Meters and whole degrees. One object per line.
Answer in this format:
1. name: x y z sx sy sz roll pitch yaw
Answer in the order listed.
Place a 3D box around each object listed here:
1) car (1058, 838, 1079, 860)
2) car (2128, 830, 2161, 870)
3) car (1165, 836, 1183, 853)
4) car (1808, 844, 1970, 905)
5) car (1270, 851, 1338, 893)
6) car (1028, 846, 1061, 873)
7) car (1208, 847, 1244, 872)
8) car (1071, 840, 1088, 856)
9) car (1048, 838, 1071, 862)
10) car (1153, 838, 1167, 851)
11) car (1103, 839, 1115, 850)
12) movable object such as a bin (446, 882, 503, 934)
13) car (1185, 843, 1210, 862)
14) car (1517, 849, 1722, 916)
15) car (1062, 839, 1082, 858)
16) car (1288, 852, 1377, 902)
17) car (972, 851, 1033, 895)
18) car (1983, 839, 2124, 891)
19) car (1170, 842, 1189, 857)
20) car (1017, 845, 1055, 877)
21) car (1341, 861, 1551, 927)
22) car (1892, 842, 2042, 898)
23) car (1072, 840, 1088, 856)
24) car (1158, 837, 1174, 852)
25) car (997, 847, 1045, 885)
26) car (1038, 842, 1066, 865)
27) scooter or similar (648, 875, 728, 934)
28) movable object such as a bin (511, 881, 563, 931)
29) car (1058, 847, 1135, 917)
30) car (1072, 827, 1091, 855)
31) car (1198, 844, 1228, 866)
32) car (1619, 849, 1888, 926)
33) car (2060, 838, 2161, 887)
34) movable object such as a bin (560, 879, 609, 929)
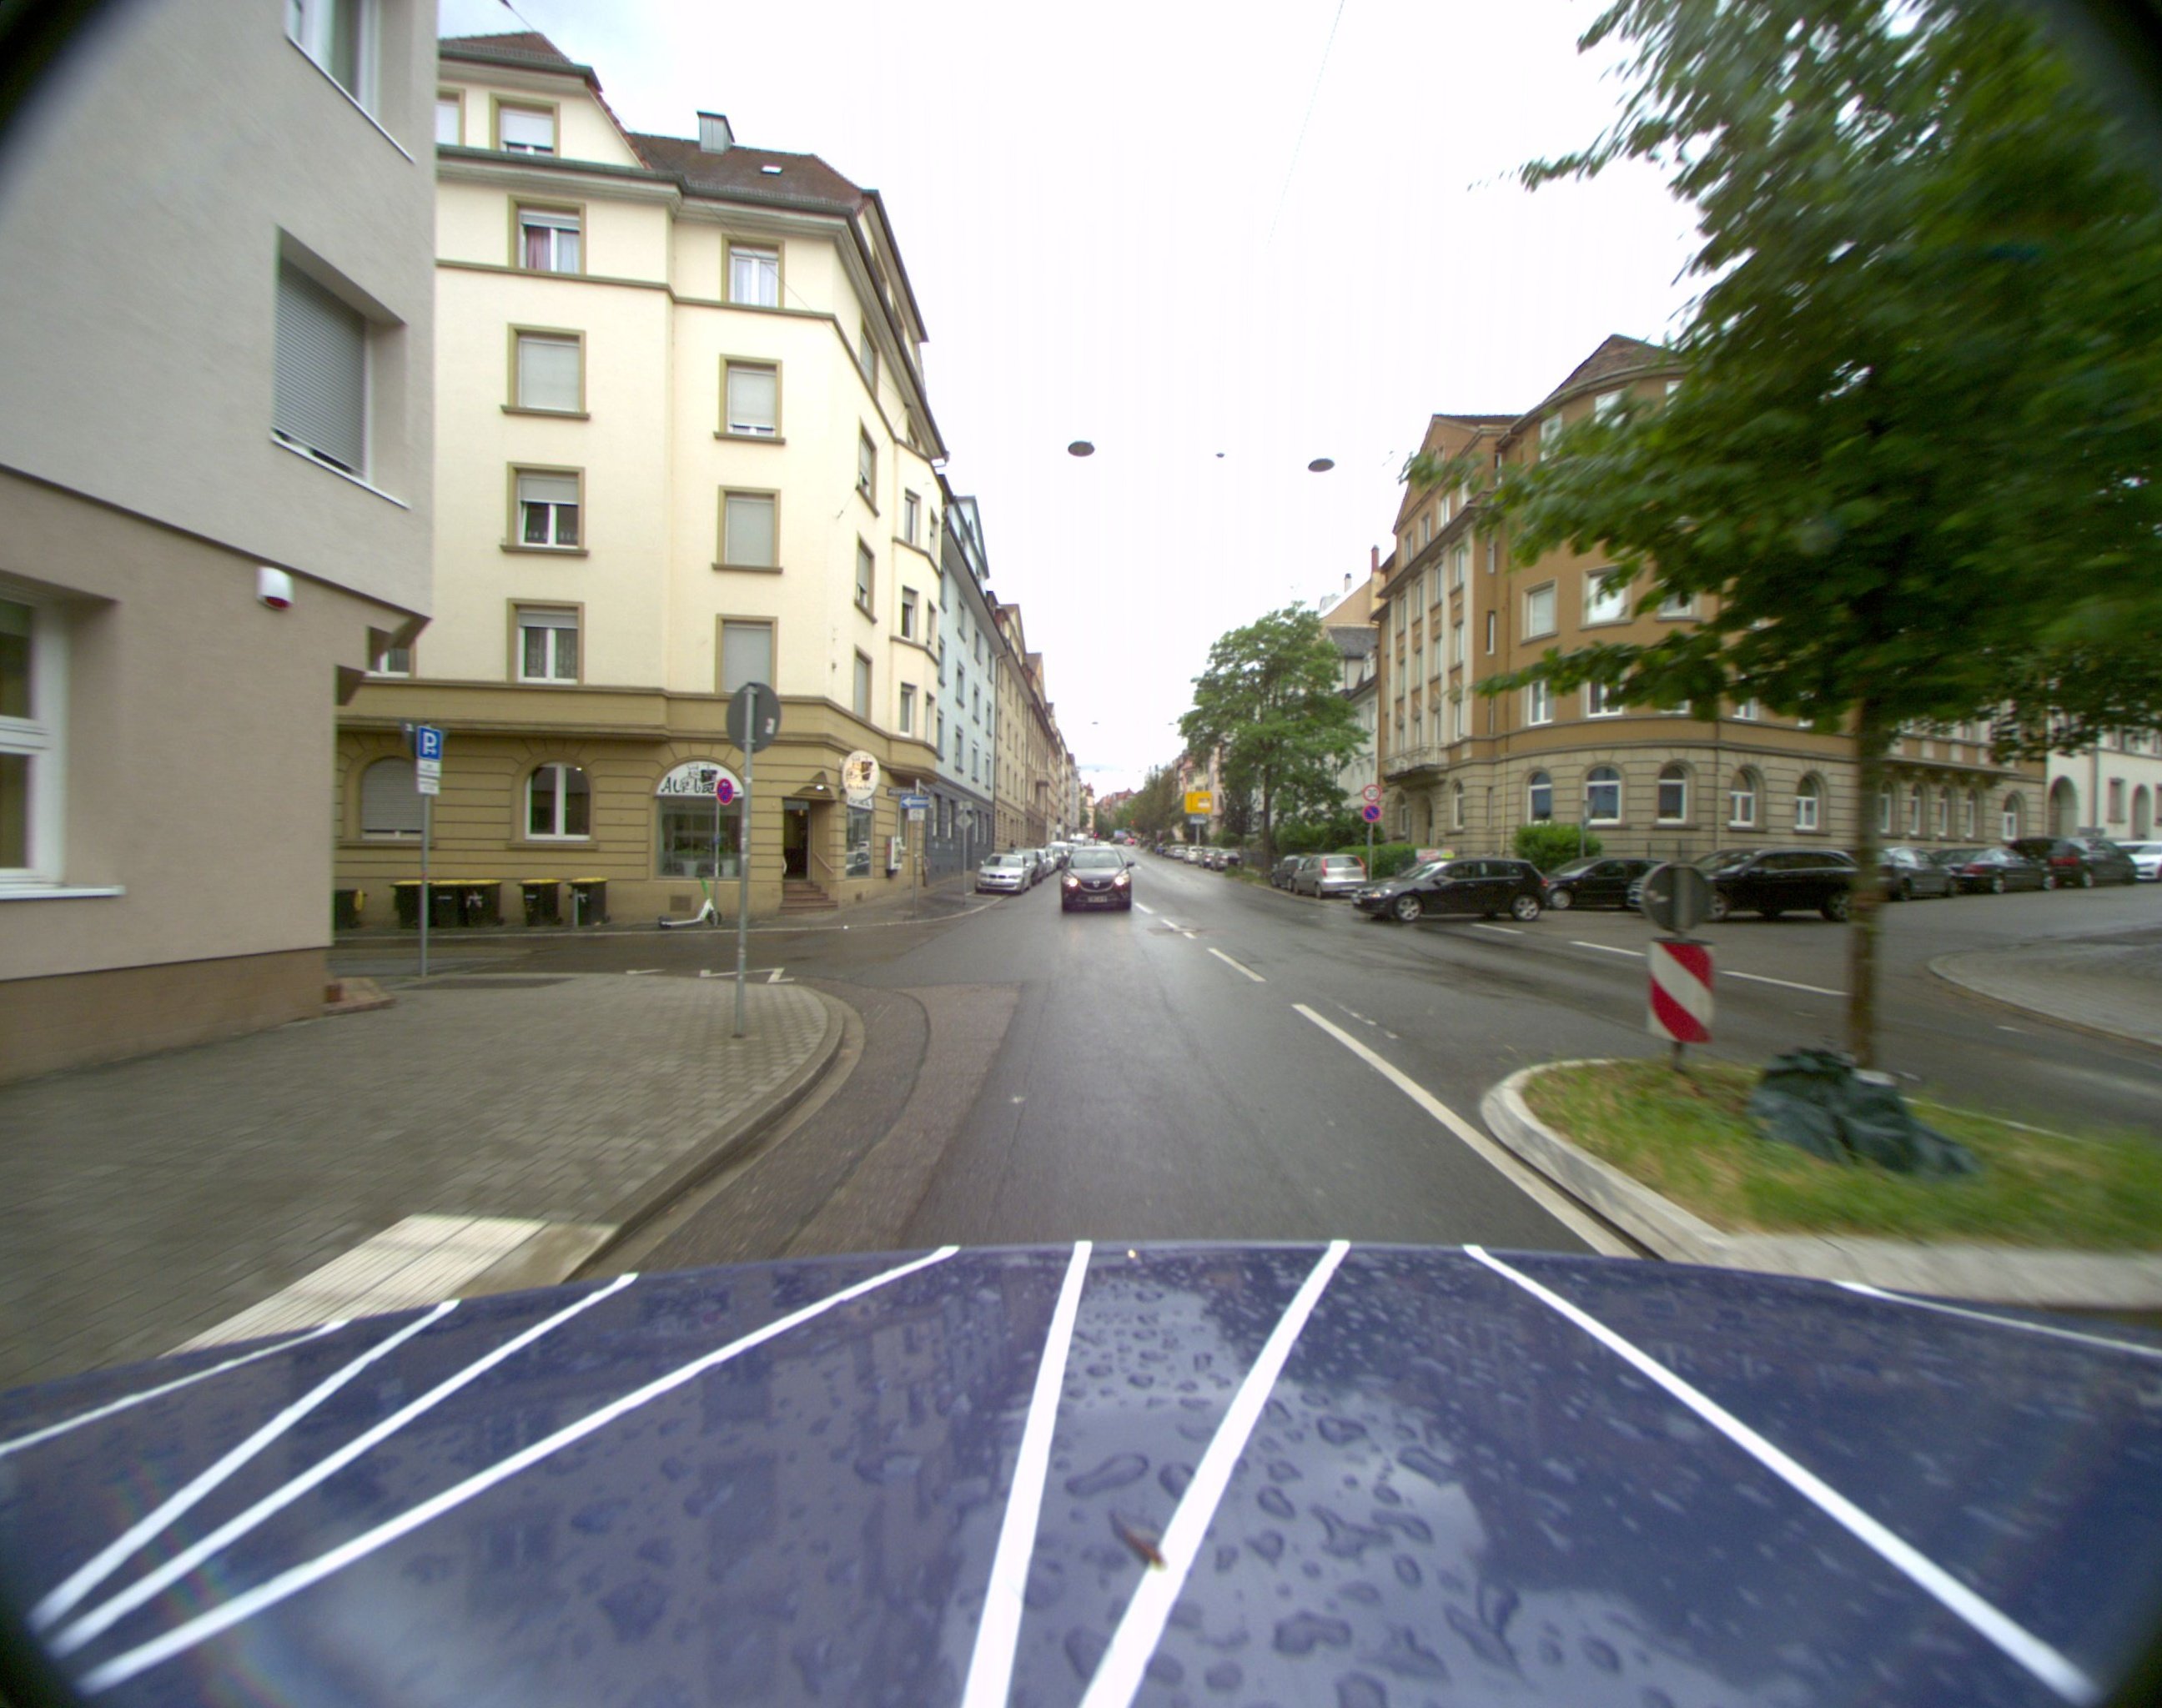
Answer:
1. car: -1.112 -0.461 68.620 1.719 1.871 3.907 0 1 1
2. car: 47.500 -0.186 32.688 4.004 1.674 1.996 0 1 -23
3. car: 10.601 -1.106 86.641 1.640 1.871 3.658 0 1 1
4. car: 24.072 0.536 22.650 4.004 1.674 1.996 0 1 -23
5. car: 8.883 0.668 30.502 1.672 1.507 3.393 -2 1 0
6. car: -2.147 0.306 45.263 1.733 1.486 3.550 0 1 0
7. car: 9.470 0.340 49.727 1.672 1.507 3.696 -2 1 1
8. car: -0.141 -0.728 89.242 1.998 1.871 3.999 0 1 1
9. car: -1.721 -0.368 62.232 1.733 1.887 3.550 0 1 0
10. car: 11.172 -1.357 107.142 1.640 1.871 3.658 0 1 1
11. car: 4.506 -1.597 123.629 1.796 1.768 3.903 0 1 1
12. movable object such as a bin: -13.616 1.201 17.077 0.677 1.070 0.703 0 3 -6
13. car: 10.061 -0.141 65.926 1.672 1.507 3.393 -2 1 1
14. car: 14.218 0.710 20.298 3.995 1.674 2.001 0 1 7
15. car: -0.942 -0.596 80.131 1.998 1.871 3.999 0 1 1
16. car: 8.604 0.725 26.288 1.813 1.507 3.676 -2 1 0
17. car: -2.877 0.658 28.725 1.856 1.456 4.204 0 1 0
18. car: 33.563 0.322 26.228 4.004 1.674 1.996 0 1 -23
19. car: 10.570 -0.499 81.708 1.558 1.507 3.393 -2 1 2
20. car: -2.353 0.339 40.387 1.776 1.583 3.550 0 1 0
21. car: 8.300 0.883 17.522 3.998 1.412 1.811 0 0 -2
22. car: 28.661 0.452 24.584 4.004 1.674 1.996 0 1 -23
23. car: -0.123 -0.784 94.160 1.998 1.871 3.999 0 1 1
24. car: 10.690 -1.213 95.894 1.640 1.871 3.658 0 1 1
25. car: -2.660 0.481 34.397 1.817 1.583 3.894 0 1 0
26. car: -1.914 -0.039 51.388 1.733 1.486 3.550 0 1 0
27. scooter or similar: -8.741 1.101 16.924 1.482 1.144 0.486 -3 7 -36
28. movable object such as a bin: -12.373 1.176 17.296 0.677 1.070 0.703 0 3 -6
29. car: 0.324 0.647 20.441 1.856 1.646 4.203 0 1 -1
30. car: 0.142 -1.768 104.312 2.554 3.613 9.049 0 1 1
31. car: 9.619 0.028 55.564 1.672 1.507 3.393 -2 1 1
32. car: 15.121 0.725 17.249 4.600 1.637 1.811 0 0 -2
33. car: 38.553 0.269 28.030 4.004 1.674 1.996 0 1 -23
34. movable object such as a bin: -11.381 1.144 17.436 0.677 1.070 0.703 0 3 -6
